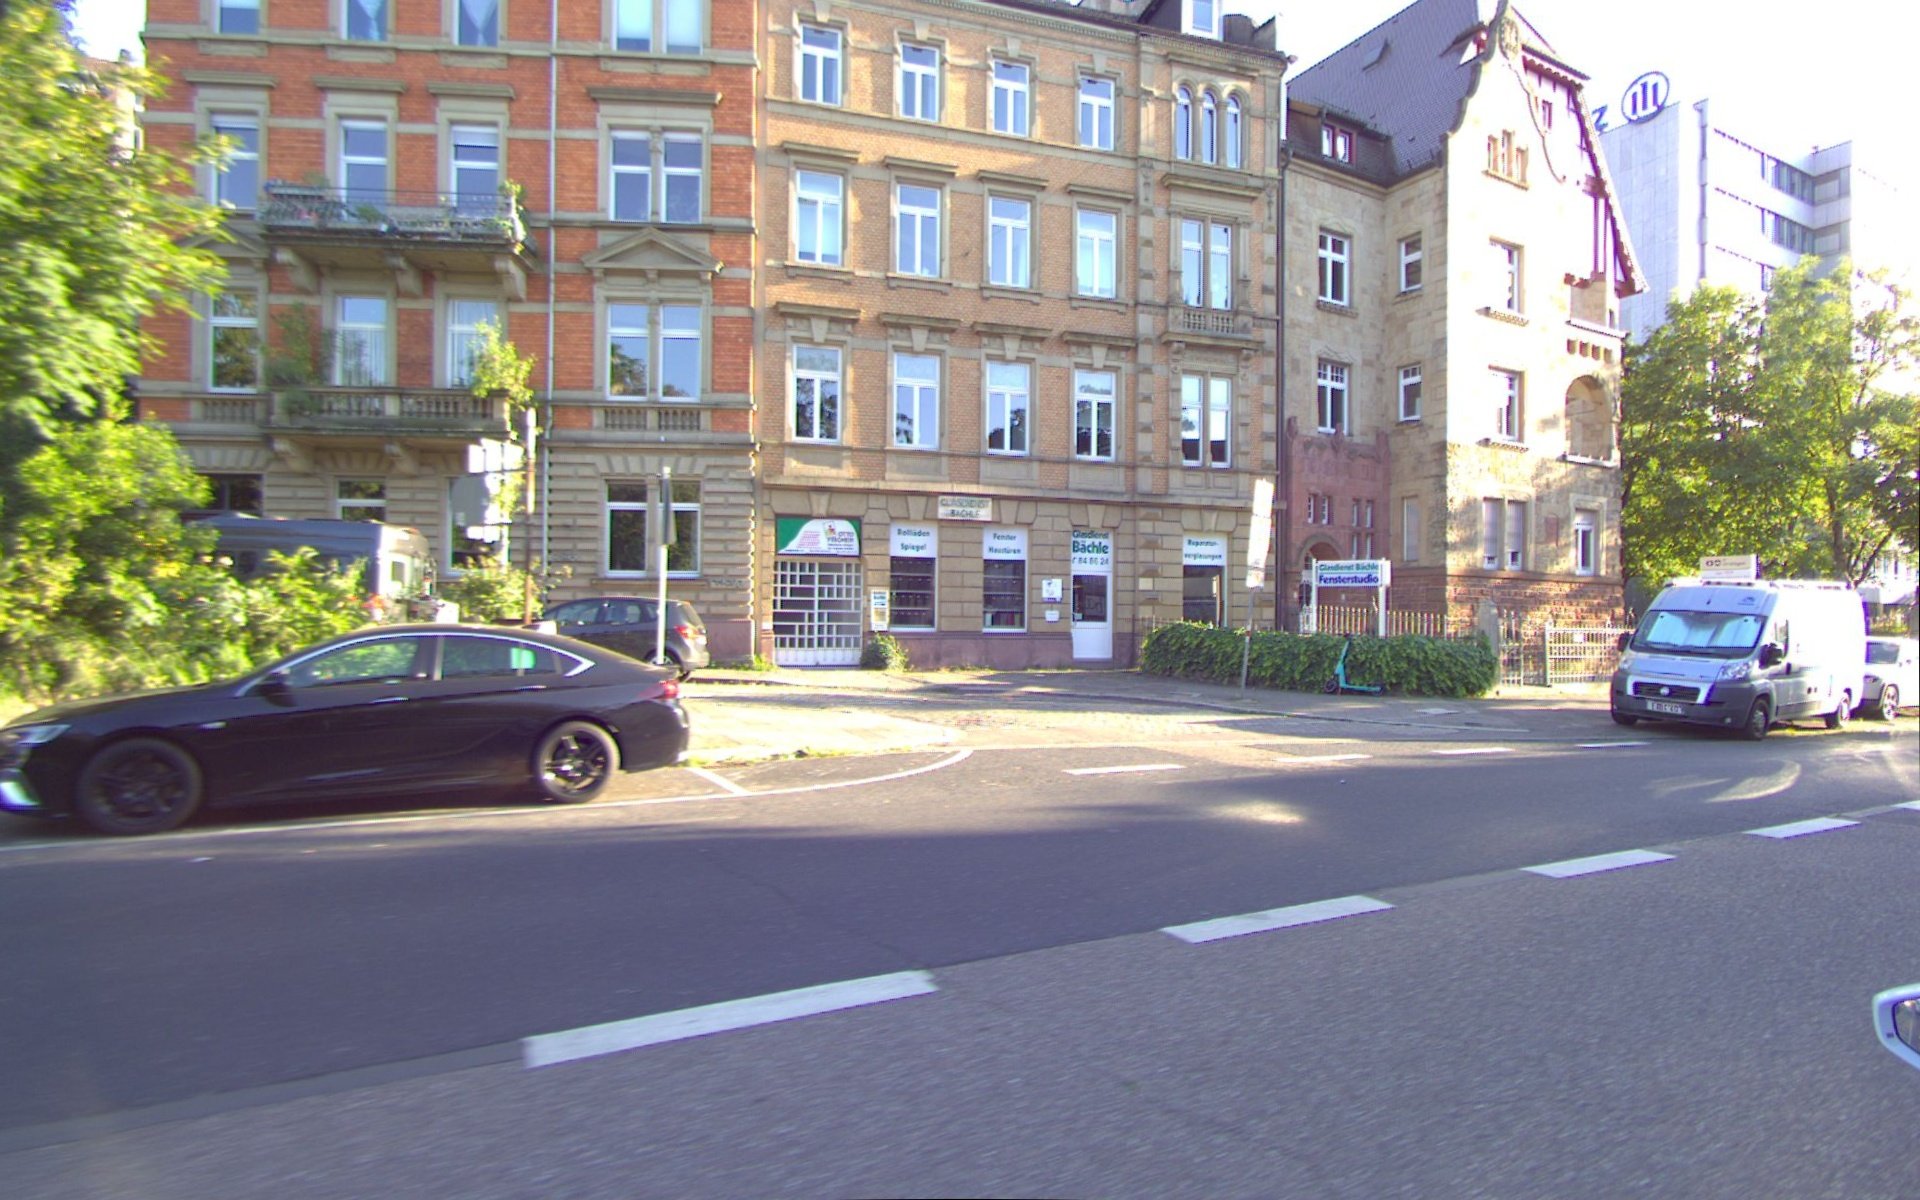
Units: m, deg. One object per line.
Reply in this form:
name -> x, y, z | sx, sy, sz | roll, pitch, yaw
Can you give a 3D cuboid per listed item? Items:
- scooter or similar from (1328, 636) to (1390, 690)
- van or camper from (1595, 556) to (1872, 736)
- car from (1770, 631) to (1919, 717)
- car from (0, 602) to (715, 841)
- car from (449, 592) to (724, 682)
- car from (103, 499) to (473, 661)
scooter or similar -> 7.938, 1.250, 20.006 | 1.095, 1.071, 0.288 | 0, -2, 14
van or camper -> 13.605, 0.734, 17.520 | 5.975, 2.704, 1.981 | 2, 1, -34
car -> 19.019, 1.489, 21.092 | 4.252, 1.555, 1.737 | 2, 1, -31
car -> -4.661, 0.828, 8.282 | 4.772, 1.503, 1.984 | 2, -1, -30
car -> -6.893, 0.707, 18.988 | 4.476, 1.557, 1.999 | 1, -2, -6
car -> -12.117, -0.295, 18.473 | 5.208, 2.775, 2.126 | 0, -2, -4
